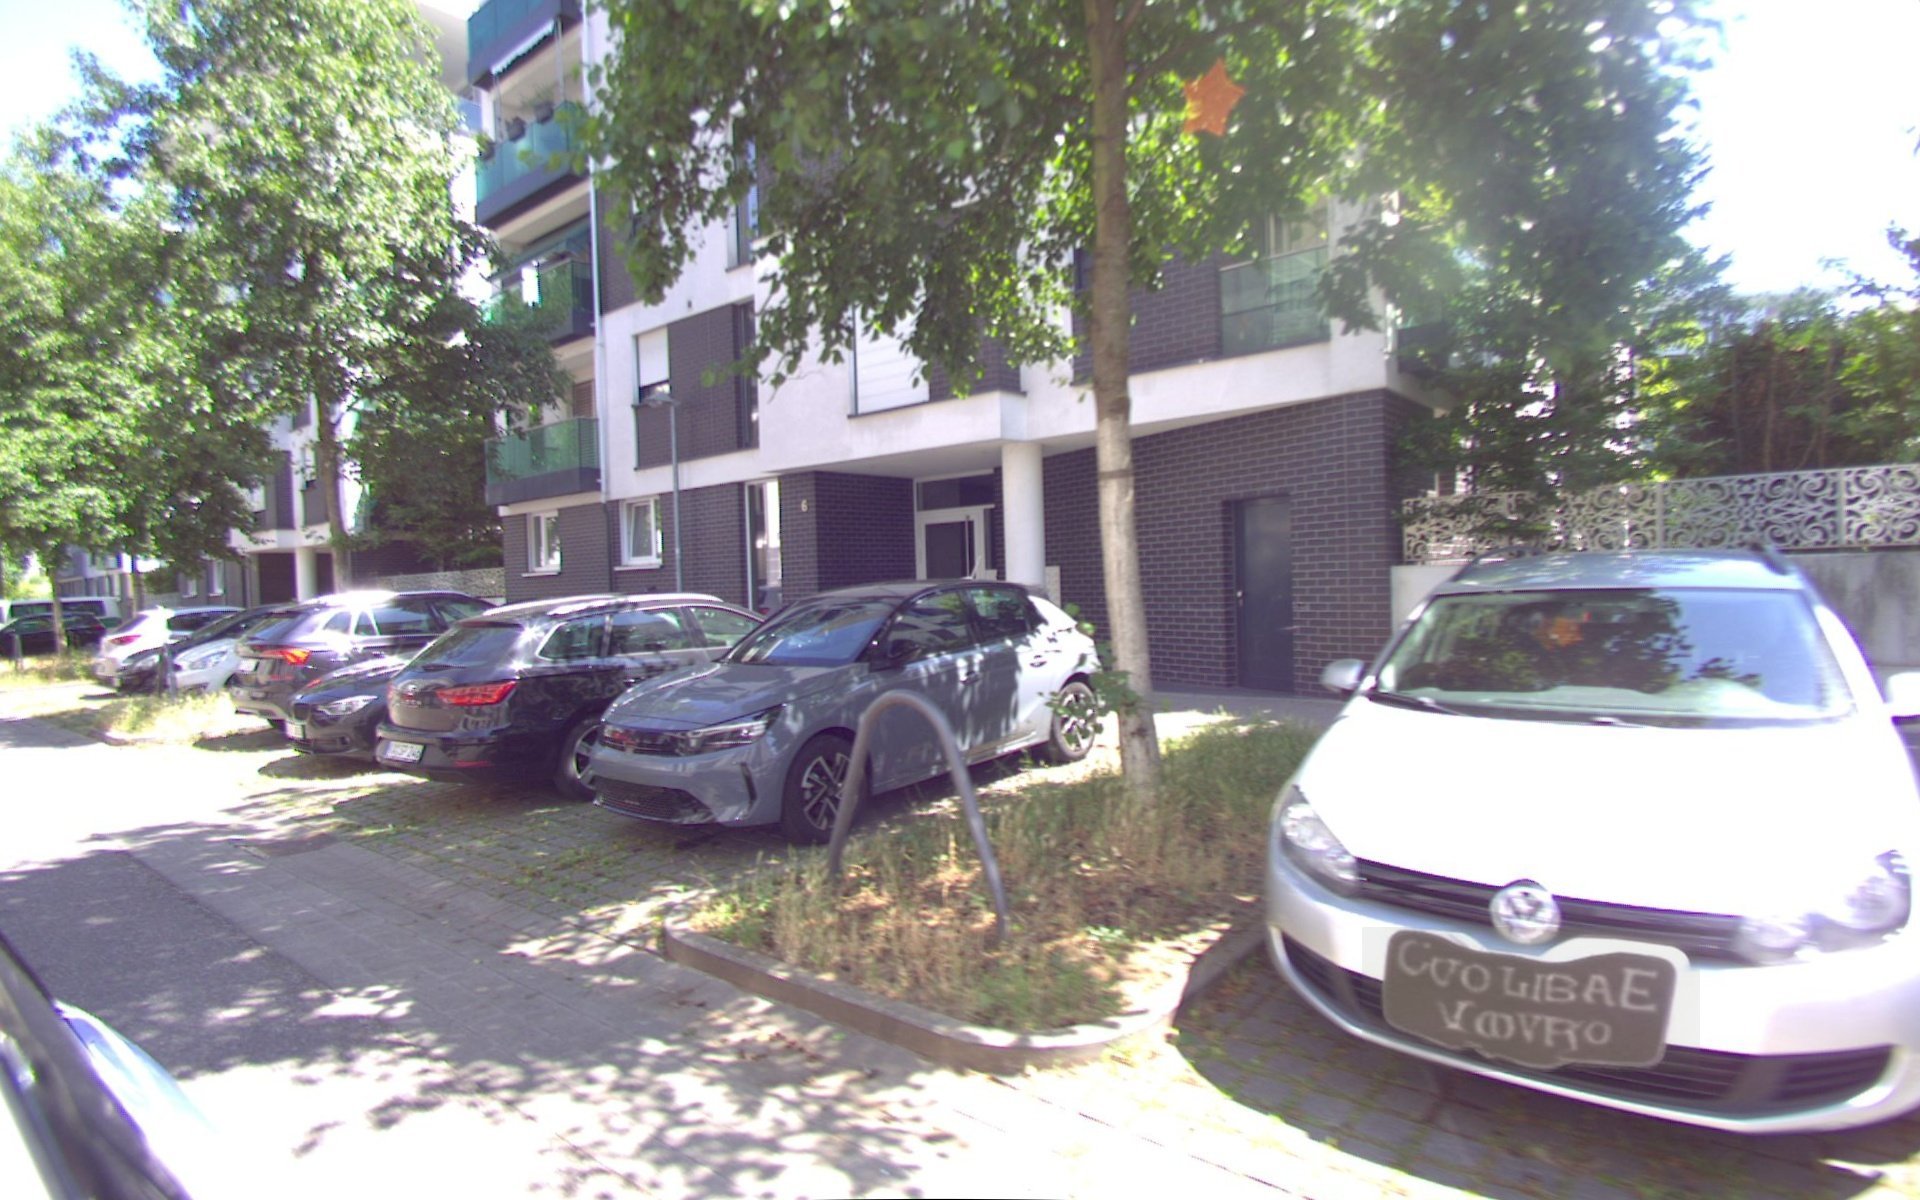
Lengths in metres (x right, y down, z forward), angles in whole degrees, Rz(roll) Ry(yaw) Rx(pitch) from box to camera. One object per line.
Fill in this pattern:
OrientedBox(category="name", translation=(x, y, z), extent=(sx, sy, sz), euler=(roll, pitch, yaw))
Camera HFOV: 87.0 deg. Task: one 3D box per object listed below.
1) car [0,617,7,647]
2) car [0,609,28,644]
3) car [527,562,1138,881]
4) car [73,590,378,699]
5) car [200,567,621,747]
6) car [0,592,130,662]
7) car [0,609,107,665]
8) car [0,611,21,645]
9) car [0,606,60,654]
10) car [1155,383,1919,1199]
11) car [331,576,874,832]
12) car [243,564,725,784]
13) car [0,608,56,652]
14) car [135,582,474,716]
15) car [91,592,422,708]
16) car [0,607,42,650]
OrientedBox(category="car", translation=(-51.615, 1.765, 50.917), extent=(1.925, 1.496, 5.051), euler=(-1, 2, 38))
OrientedBox(category="car", translation=(-47.636, 1.390, 47.802), extent=(2.039, 1.644, 4.982), euler=(-2, 1, 38))
OrientedBox(category="car", translation=(-0.627, 0.564, 7.101), extent=(1.896, 1.432, 3.946), euler=(-2, 3, 41))
OrientedBox(category="car", translation=(-13.595, 0.731, 18.952), extent=(1.923, 1.528, 4.211), euler=(-1, 3, 40))
OrientedBox(category="car", translation=(-6.395, 0.529, 12.120), extent=(1.932, 1.641, 3.947), euler=(-1, 2, 40))
OrientedBox(category="car", translation=(-30.525, 0.882, 32.828), extent=(2.187, 2.126, 5.285), euler=(-1, 1, 42))
OrientedBox(category="car", translation=(-28.536, 1.152, 30.850), extent=(1.676, 1.492, 3.588), euler=(-1, 3, 39))
OrientedBox(category="car", translation=(-45.688, 1.425, 45.894), extent=(1.819, 1.542, 4.213), euler=(-2, 3, 37))
OrientedBox(category="car", translation=(-36.218, 1.189, 37.757), extent=(1.850, 1.688, 3.644), euler=(-1, 3, 40))
OrientedBox(category="car", translation=(2.668, 0.463, 3.977), extent=(1.997, 1.723, 4.319), euler=(-1, -1, 38))
OrientedBox(category="car", translation=(-2.705, 0.632, 8.477), extent=(1.772, 1.456, 3.939), euler=(-1, 3, 36))
OrientedBox(category="car", translation=(-4.640, 0.564, 10.285), extent=(1.918, 1.663, 3.945), euler=(-1, 2, 42))
OrientedBox(category="car", translation=(-38.372, 1.273, 39.289), extent=(1.962, 1.605, 4.520), euler=(-1, 3, 35))
OrientedBox(category="car", translation=(-9.921, 0.645, 15.549), extent=(1.883, 1.603, 3.947), euler=(-1, 2, 41))
OrientedBox(category="car", translation=(-11.821, 0.753, 17.263), extent=(1.791, 1.486, 4.274), euler=(-1, 3, 40))
OrientedBox(category="car", translation=(-40.189, 1.264, 41.216), extent=(1.949, 1.641, 3.938), euler=(-1, 3, 42))
